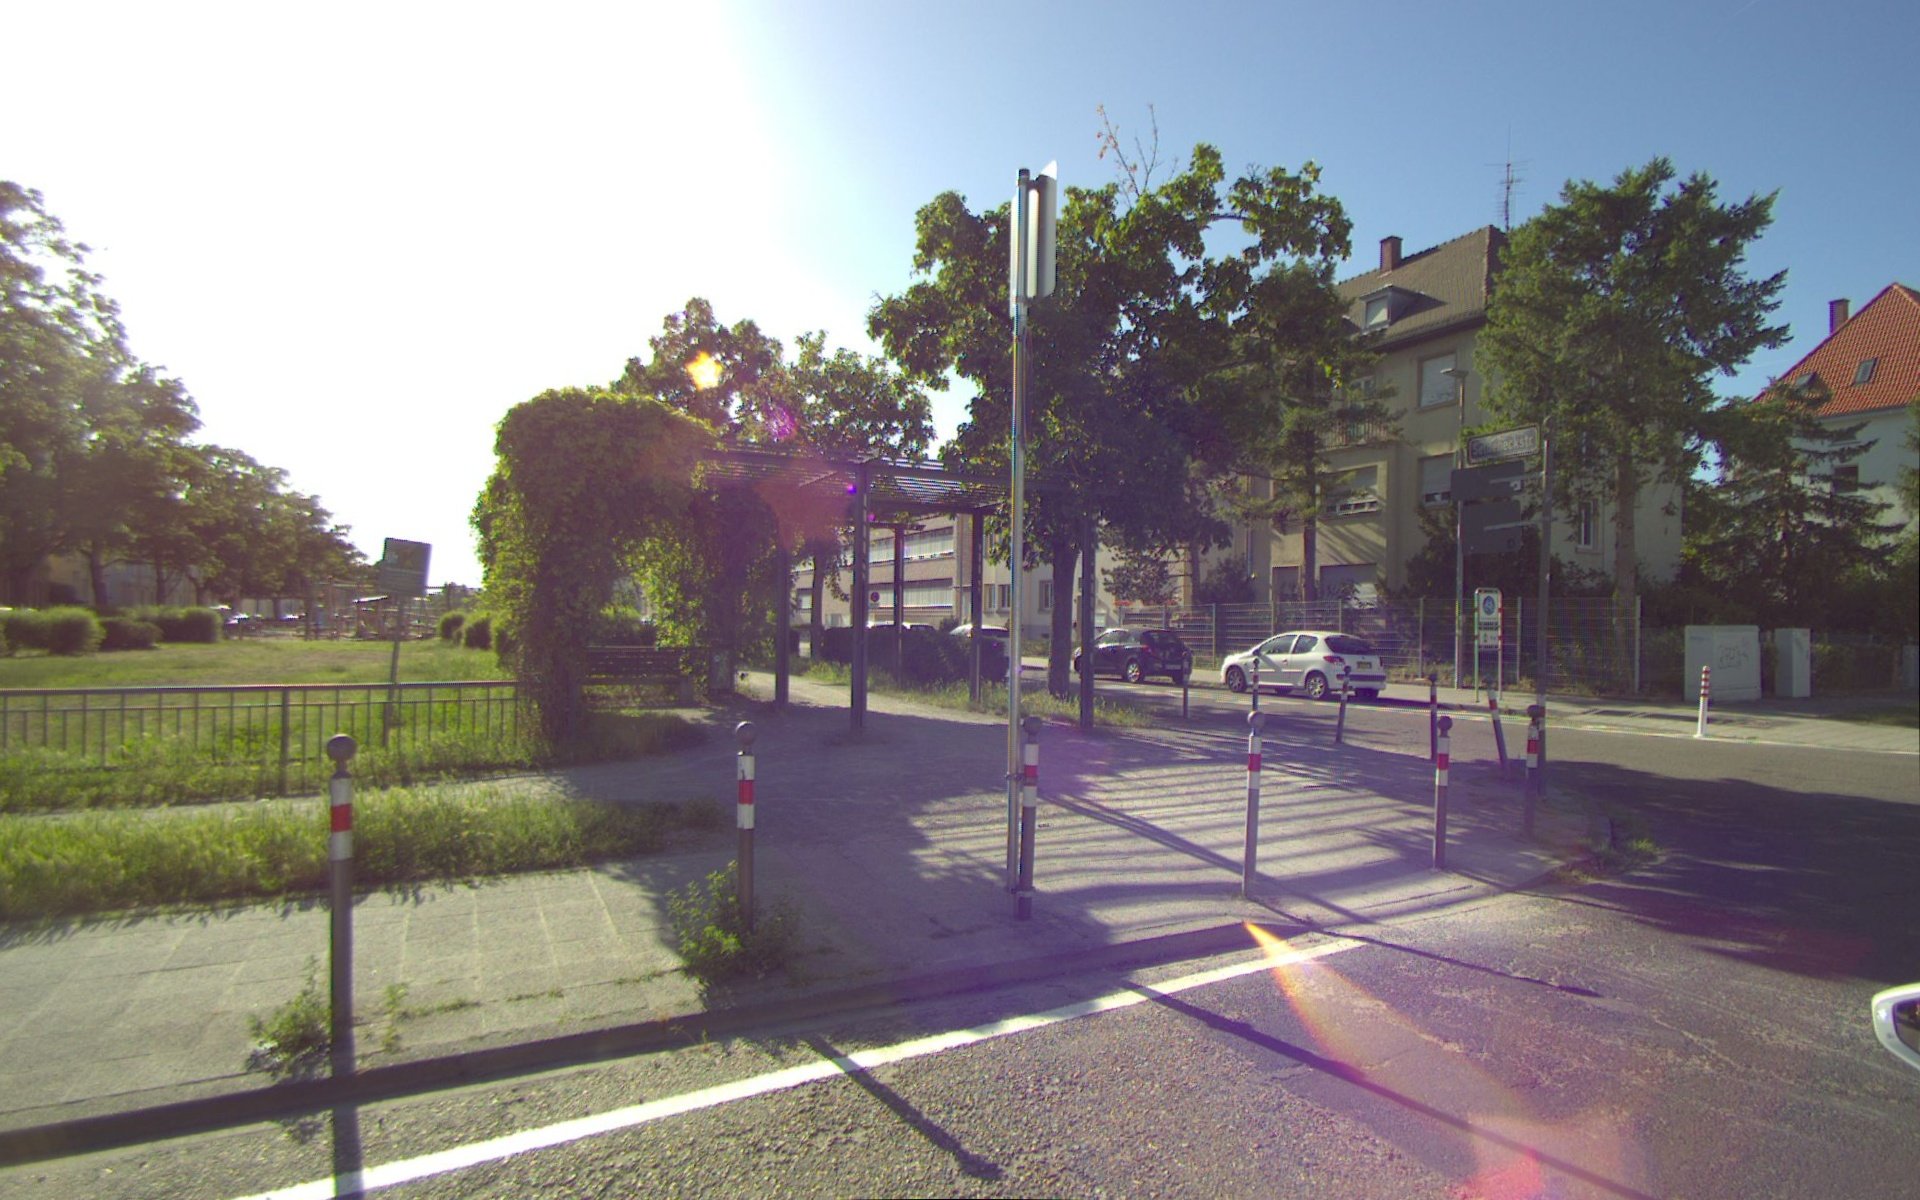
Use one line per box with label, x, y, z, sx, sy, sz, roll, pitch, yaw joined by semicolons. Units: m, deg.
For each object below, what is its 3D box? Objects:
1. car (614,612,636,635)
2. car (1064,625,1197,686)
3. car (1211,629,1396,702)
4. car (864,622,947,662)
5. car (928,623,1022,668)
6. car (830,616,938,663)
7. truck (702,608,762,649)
car;-37.045;2.604;111.018;1.800;2.551;3.973;1;-2;-27
car;4.560;1.466;27.394;1.655;1.514;3.800;3;-2;-27
car;7.477;1.395;22.187;1.685;1.416;3.750;3;-2;-27
car;-2.344;1.736;42.070;1.781;1.514;3.966;3;-2;-31
car;0.490;1.638;36.635;1.778;1.514;3.973;3;-2;-27
car;-2.757;1.338;35.325;1.976;1.545;4.719;1;-2;-29
truck;-12.186;1.485;53.453;1.974;2.063;4.841;1;-1;-27
